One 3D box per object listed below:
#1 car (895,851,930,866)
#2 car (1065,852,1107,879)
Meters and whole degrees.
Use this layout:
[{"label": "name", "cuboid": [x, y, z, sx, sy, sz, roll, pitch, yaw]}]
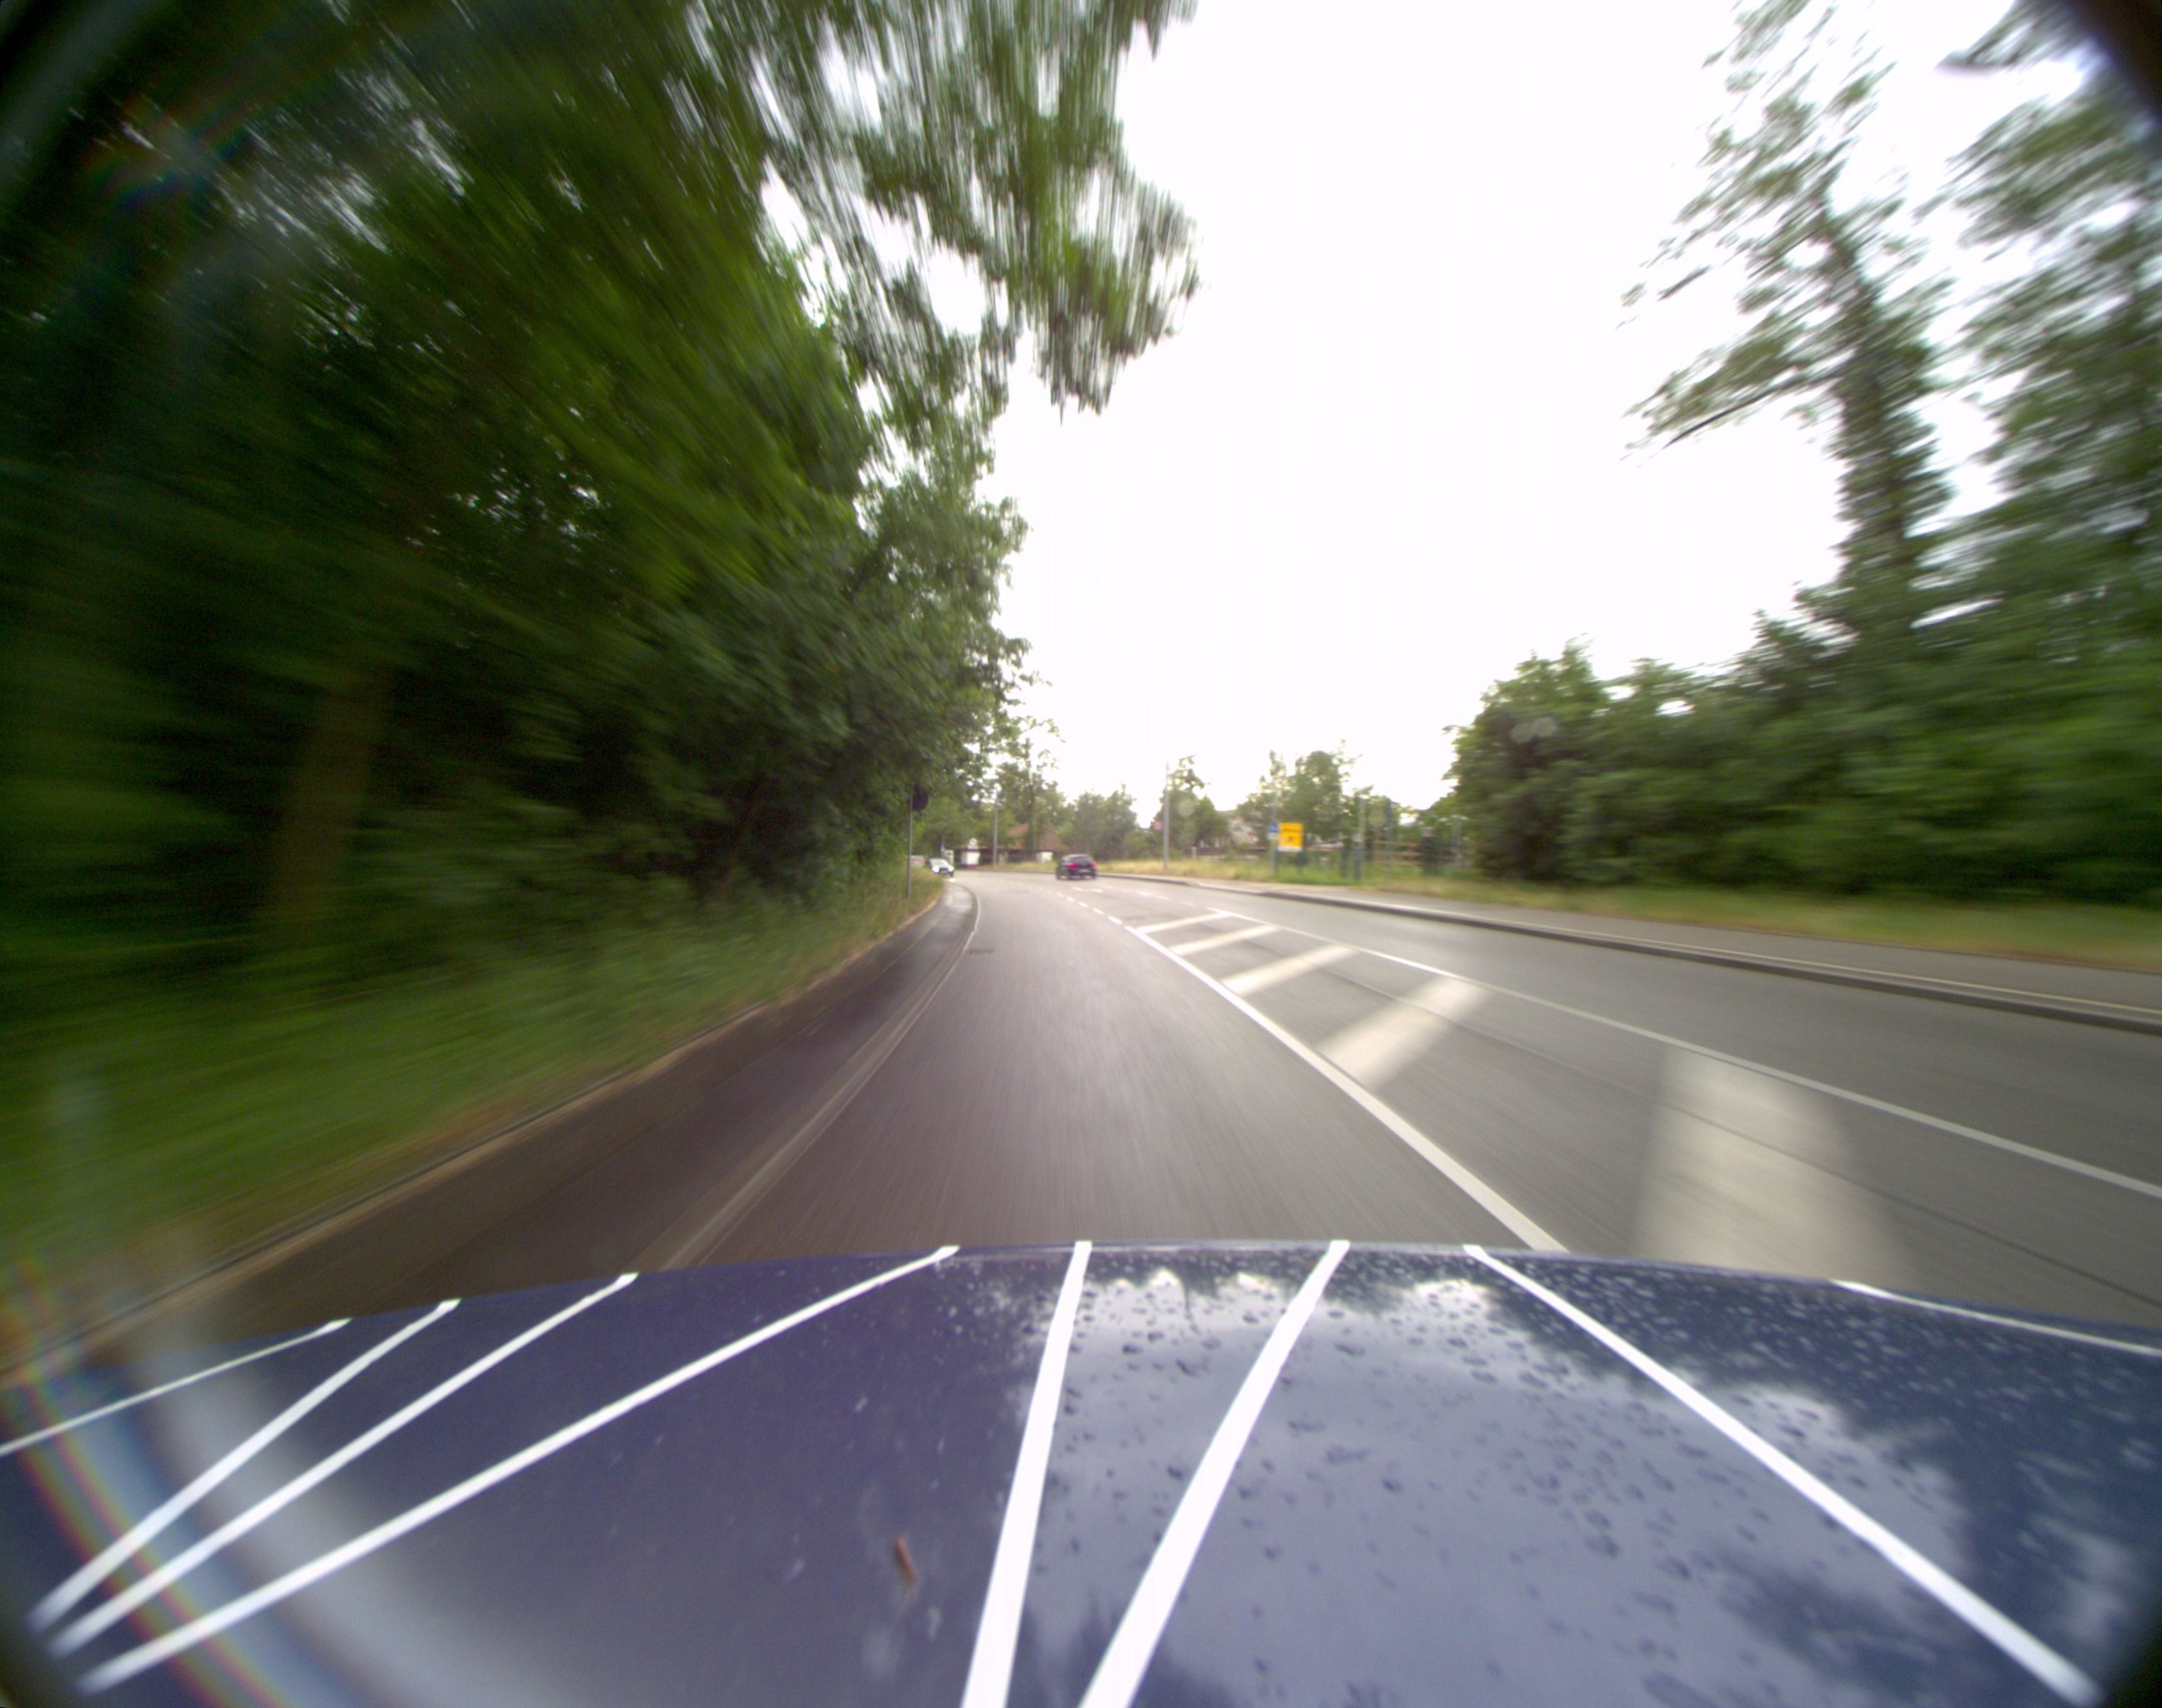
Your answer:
[{"label": "car", "cuboid": [-19.457, 0.541, 87.702, 4.406, 1.605, 1.768, -2, 1, 44]}, {"label": "car", "cuboid": [0.219, 0.650, 43.937, 1.600, 1.468, 3.788, -2, 0, -12]}]
